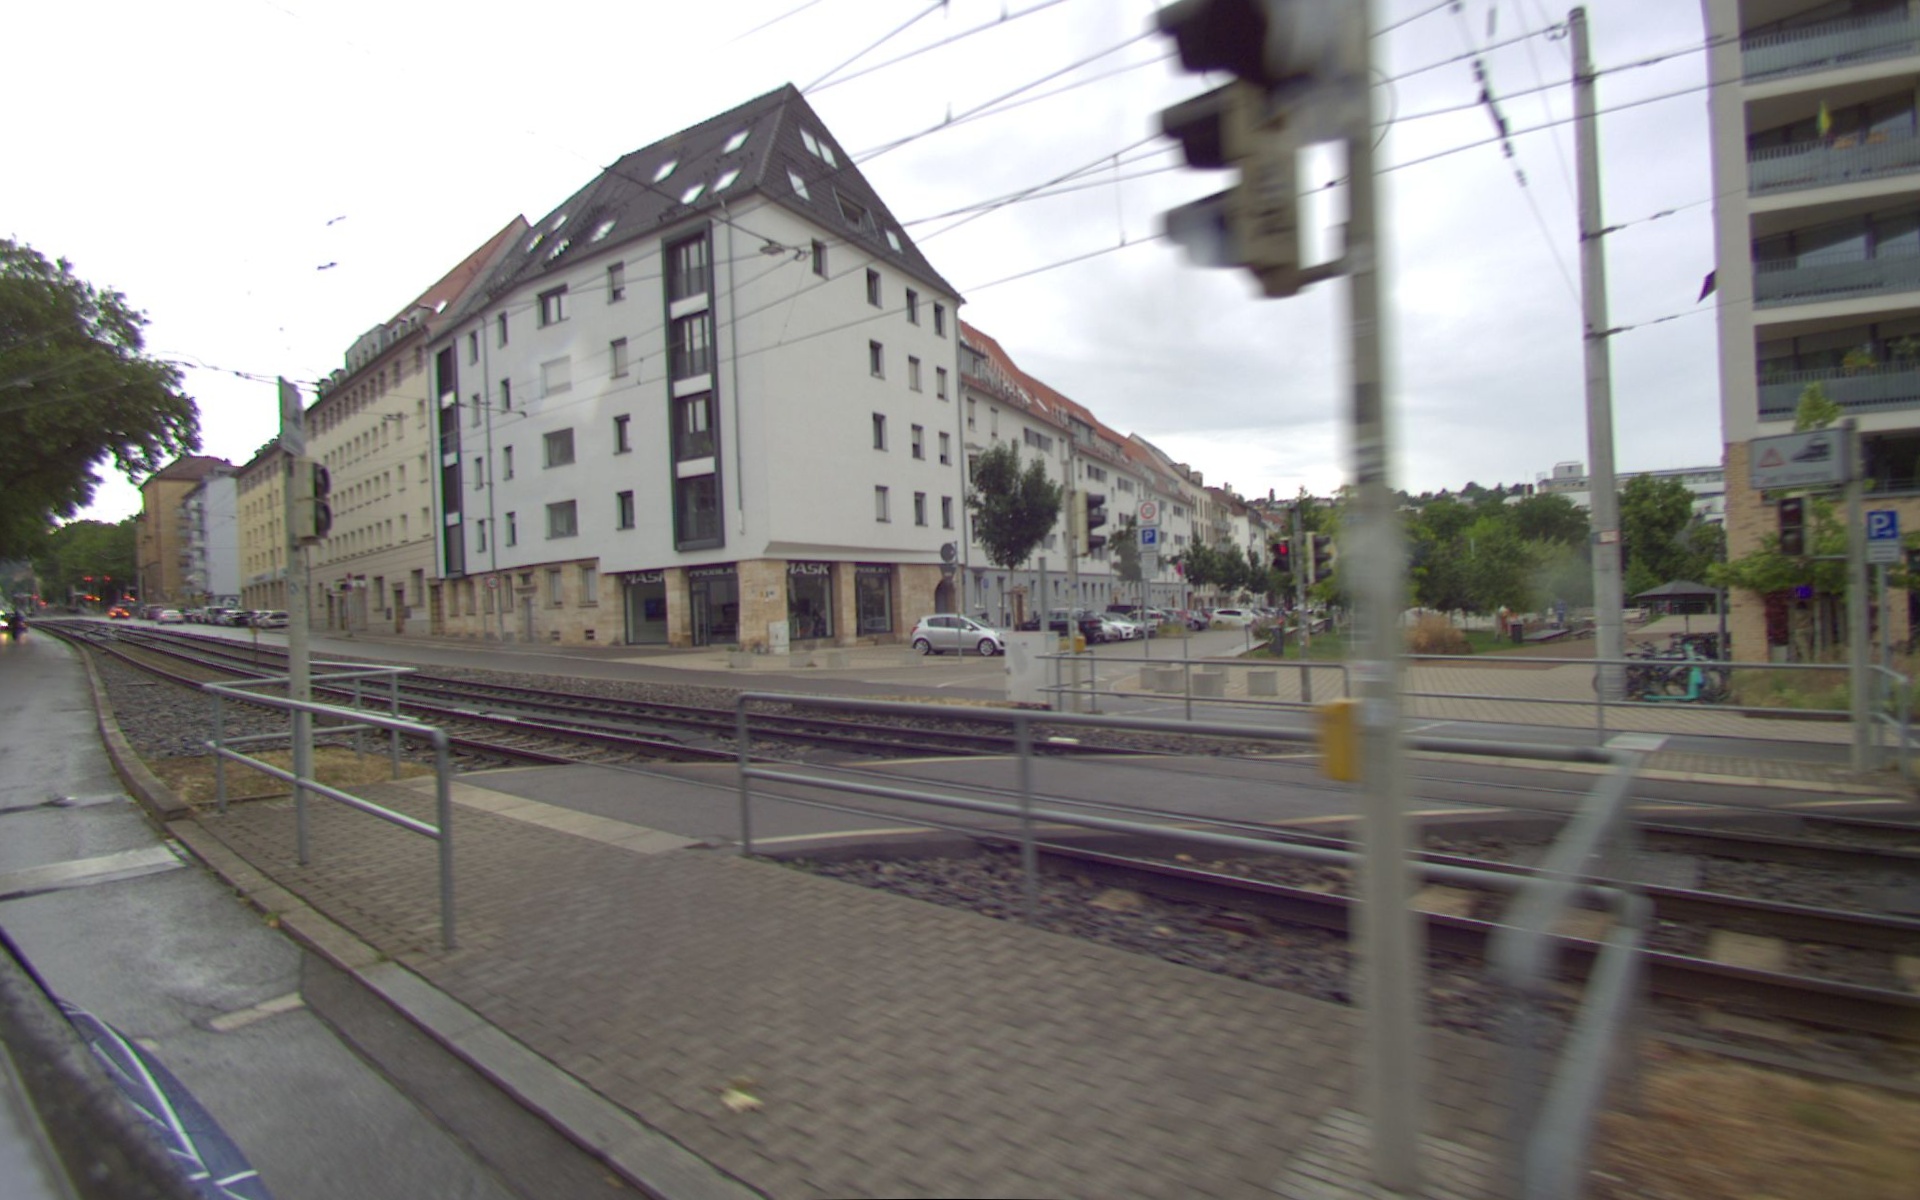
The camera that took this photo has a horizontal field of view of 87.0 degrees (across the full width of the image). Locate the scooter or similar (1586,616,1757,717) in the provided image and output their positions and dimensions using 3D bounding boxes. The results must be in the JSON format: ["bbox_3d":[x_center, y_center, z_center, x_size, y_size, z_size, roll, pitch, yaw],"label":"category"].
[{"bbox_3d":[12.147,1.095,17.367,2.356,1.608,0.594,0,-1,36],"label":"scooter or similar"}]

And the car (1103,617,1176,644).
[{"bbox_3d":[10.940,1.848,61.617,3.980,1.630,1.923,-1,-1,27],"label":"car"}]

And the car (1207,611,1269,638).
[{"bbox_3d":[21.643,1.931,78.811,4.315,2.029,1.826,-1,-2,34],"label":"car"}]

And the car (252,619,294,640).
[{"bbox_3d":[-55.613,2.365,81.922,4.001,1.554,2.002,0,-1,44],"label":"car"}]

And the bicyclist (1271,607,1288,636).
[{"bbox_3d":[20.381,1.371,64.508,0.891,1.818,0.786,-1,-1,10],"label":"bicyclist"}]

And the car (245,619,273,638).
[{"bbox_3d":[-58.858,2.378,84.922,3.192,1.495,1.308,0,-1,44],"label":"car"}]

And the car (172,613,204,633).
[{"bbox_3d":[-79.984,2.322,104.864,4.228,2.029,2.002,0,-1,44],"label":"car"}]

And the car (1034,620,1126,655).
[{"bbox_3d":[5.767,1.760,48.506,3.979,1.630,1.923,-1,-1,26],"label":"car"}]

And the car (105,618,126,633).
[{"bbox_3d":[-112.884,3.380,135.301,1.921,2.029,4.004,0,-1,-43],"label":"car"}]

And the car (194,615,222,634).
[{"bbox_3d":[-75.585,2.466,101.682,3.592,1.822,1.703,0,-1,44],"label":"car"}]

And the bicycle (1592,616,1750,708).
[{"bbox_3d":[13.114,1.100,18.745,2.356,1.608,0.669,0,-1,36],"label":"bicycle"}]

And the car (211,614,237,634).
[{"bbox_3d":[-70.786,2.271,97.270,1.535,1.897,4.045,0,-1,-43],"label":"car"}]

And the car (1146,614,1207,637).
[{"bbox_3d":[15.600,1.819,72.981,3.979,1.630,1.923,-1,-1,26],"label":"car"}]

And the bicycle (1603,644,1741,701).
[{"bbox_3d":[14.325,1.433,20.408,2.228,1.055,0.470,-1,-1,40],"label":"bicycle"}]

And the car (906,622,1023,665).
[{"bbox_3d":[0.163,1.506,36.006,3.891,1.431,1.588,0,0,23],"label":"car"}]

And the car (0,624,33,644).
[{"bbox_3d":[-74.539,2.676,79.864,1.861,1.502,3.856,1,-1,-40],"label":"car"}]

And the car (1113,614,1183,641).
[{"bbox_3d":[11.858,1.726,63.786,3.979,1.630,1.923,-1,-1,26],"label":"car"}]

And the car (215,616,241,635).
[{"bbox_3d":[-67.877,2.356,93.811,3.407,1.766,1.358,-1,-1,44],"label":"car"}]

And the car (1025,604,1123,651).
[{"bbox_3d":[5.164,1.235,45.867,3.979,2.029,1.923,-1,-1,26],"label":"car"}]

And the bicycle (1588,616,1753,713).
[{"bbox_3d":[12.590,1.099,18.008,2.356,1.608,0.669,0,-1,36],"label":"bicycle"}]

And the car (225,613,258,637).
[{"bbox_3d":[-63.811,2.196,89.849,1.704,1.975,4.302,0,-1,-44],"label":"car"}]

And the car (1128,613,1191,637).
[{"bbox_3d":[13.981,1.769,71.022,3.979,1.630,1.923,-1,-1,26],"label":"car"}]

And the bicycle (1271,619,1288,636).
[{"bbox_3d":[20.477,1.773,64.876,0.727,1.036,2.005,-1,-1,10],"label":"bicycle"}]

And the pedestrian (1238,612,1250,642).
[{"bbox_3d":[19.707,1.879,70.126,0.717,2.029,0.733,-1,-1,22],"label":"pedestrian"}]

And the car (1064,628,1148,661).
[{"bbox_3d":[7.673,2.311,53.259,3.979,1.630,1.923,-1,-1,26],"label":"car"}]
